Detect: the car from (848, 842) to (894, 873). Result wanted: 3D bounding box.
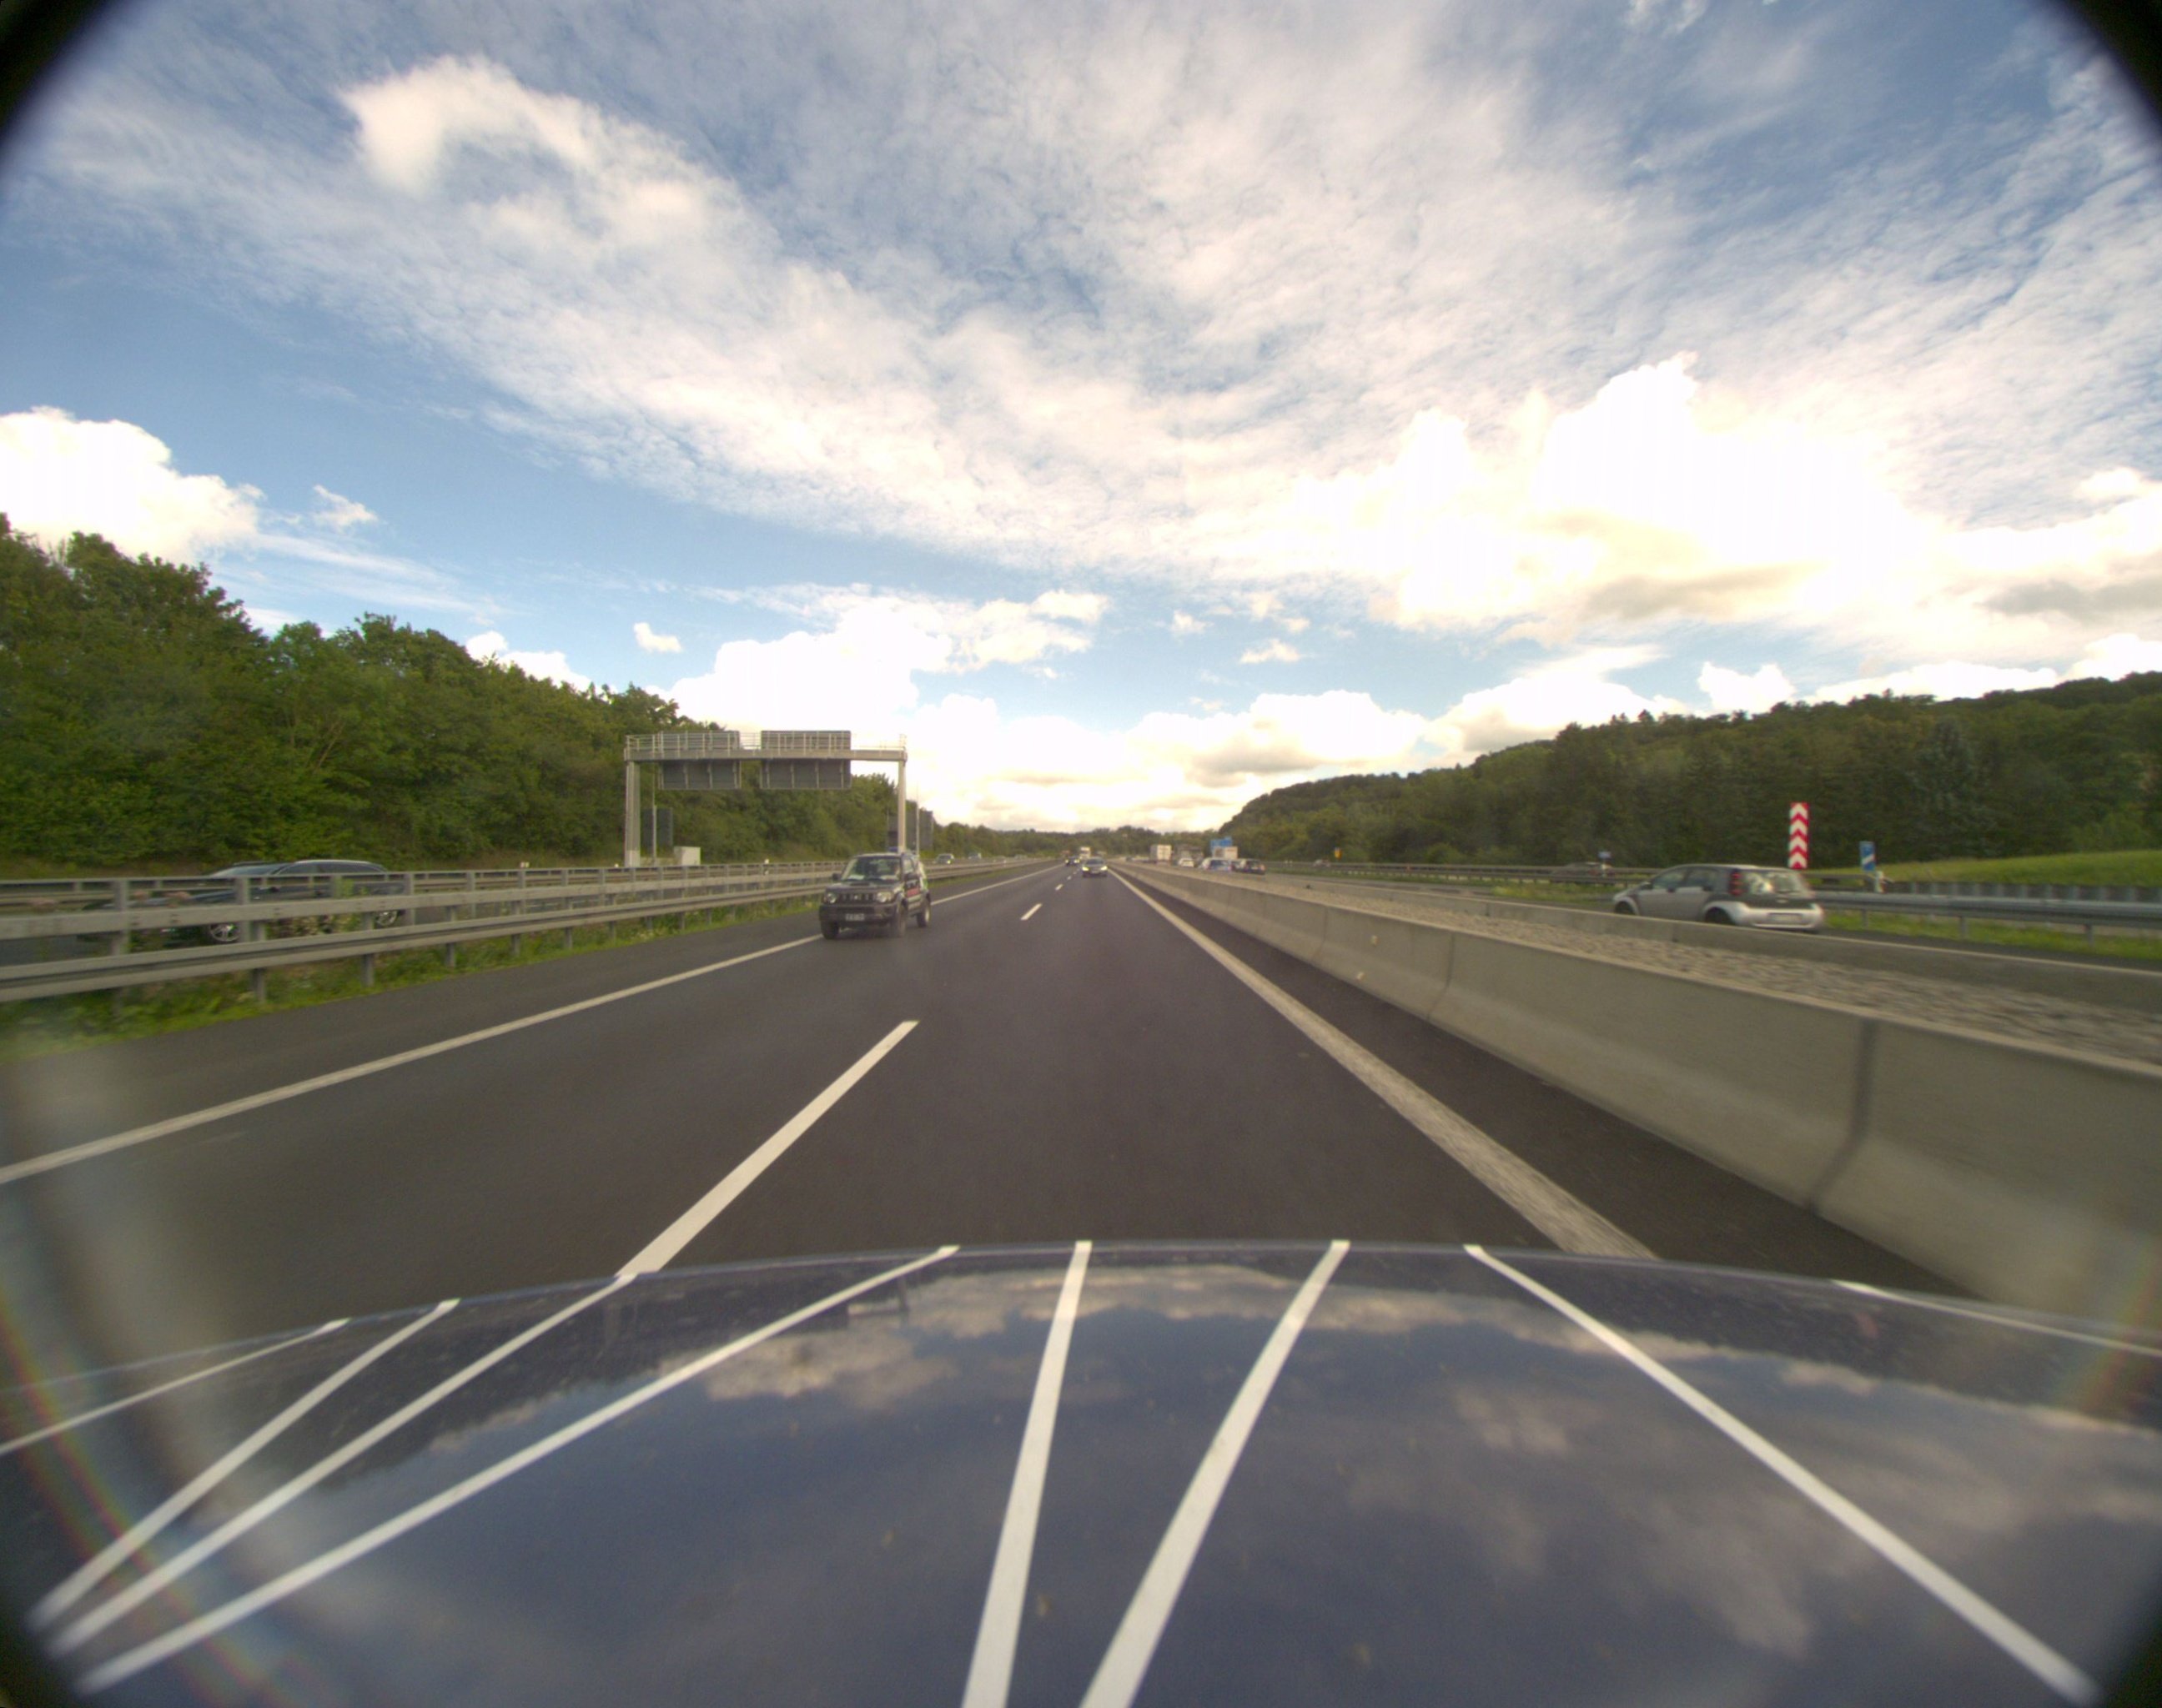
[{"bbox_3d":[-14.537,0.223,52.838,1.998,2.002,4.000,1,1,1],"label":"car"}]

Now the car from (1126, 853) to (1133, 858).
[{"bbox_3d":[15.219,0.578,240.000,1.852,1.486,4.972,1,1,1],"label":"car"}]

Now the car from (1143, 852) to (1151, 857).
[{"bbox_3d":[19.057,0.171,220.521,1.947,1.486,5.306,1,0,1],"label":"car"}]

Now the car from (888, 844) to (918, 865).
[{"bbox_3d":[-19.016,0.009,81.293,1.998,2.173,5.127,-1,1,0],"label":"car"}]

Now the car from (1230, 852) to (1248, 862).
[{"bbox_3d":[26.197,0.496,126.055,1.998,1.608,4.708,1,1,1],"label":"car"}]

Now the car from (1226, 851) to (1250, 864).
[{"bbox_3d":[19.442,0.406,94.320,1.999,1.443,5.001,1,0,0],"label":"car"}]

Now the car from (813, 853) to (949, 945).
[{"bbox_3d":[-4.182,0.854,16.597,1.670,1.722,4.207,0,0,2],"label":"car"}]

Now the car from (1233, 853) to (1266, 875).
[{"bbox_3d":[13.430,0.791,60.799,1.805,1.608,4.301,1,1,1],"label":"car"}]

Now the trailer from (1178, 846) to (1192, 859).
[{"bbox_3d":[35.061,-0.500,257.131,3.159,4.069,13.386,1,1,1],"label":"trailer"}]

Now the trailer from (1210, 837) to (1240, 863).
[{"bbox_3d":[30.139,-0.883,159.785,3.117,5.130,14.715,1,1,-1],"label":"trailer"}]

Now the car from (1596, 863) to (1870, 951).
[{"bbox_3d":[12.908,0.952,15.484,1.998,1.447,4.181,1,1,1],"label":"car"}]

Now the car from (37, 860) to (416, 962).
[{"bbox_3d":[-15.003,0.891,13.823,1.998,1.476,4.310,-1,0,0],"label":"car"}]

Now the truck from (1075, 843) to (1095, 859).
[{"bbox_3d":[1.130,-0.809,219.953,4.947,4.306,14.632,1,1,3],"label":"truck"}]

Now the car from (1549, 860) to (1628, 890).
[{"bbox_3d":[29.697,1.174,44.598,1.805,1.608,4.301,1,1,1],"label":"car"}]

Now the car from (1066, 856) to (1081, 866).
[{"bbox_3d":[-1.281,1.091,127.275,1.997,1.591,4.002,1,1,6],"label":"car"}]

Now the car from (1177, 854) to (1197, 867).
[{"bbox_3d":[14.282,0.867,102.446,1.998,1.608,5.002,1,1,1],"label":"car"}]

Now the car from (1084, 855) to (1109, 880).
[{"bbox_3d":[1.145,0.920,55.454,1.724,1.722,3.939,0,1,2],"label":"car"}]

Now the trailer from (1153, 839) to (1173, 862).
[{"bbox_3d":[15.361,-0.723,143.487,2.494,4.105,13.282,1,1,1],"label":"trailer"}]

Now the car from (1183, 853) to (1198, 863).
[{"bbox_3d":[19.484,0.686,135.777,1.998,1.608,5.002,1,1,1],"label":"car"}]

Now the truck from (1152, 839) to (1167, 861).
[{"bbox_3d":[15.483,-0.803,149.375,2.494,4.105,5.298,1,1,1],"label":"truck"}]

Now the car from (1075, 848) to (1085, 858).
[{"bbox_3d":[-0.211,-0.174,161.852,1.998,2.002,4.000,1,1,1],"label":"car"}]

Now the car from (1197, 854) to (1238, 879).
[{"bbox_3d":[9.483,0.808,53.144,1.932,1.608,5.418,1,1,1],"label":"car"}]
